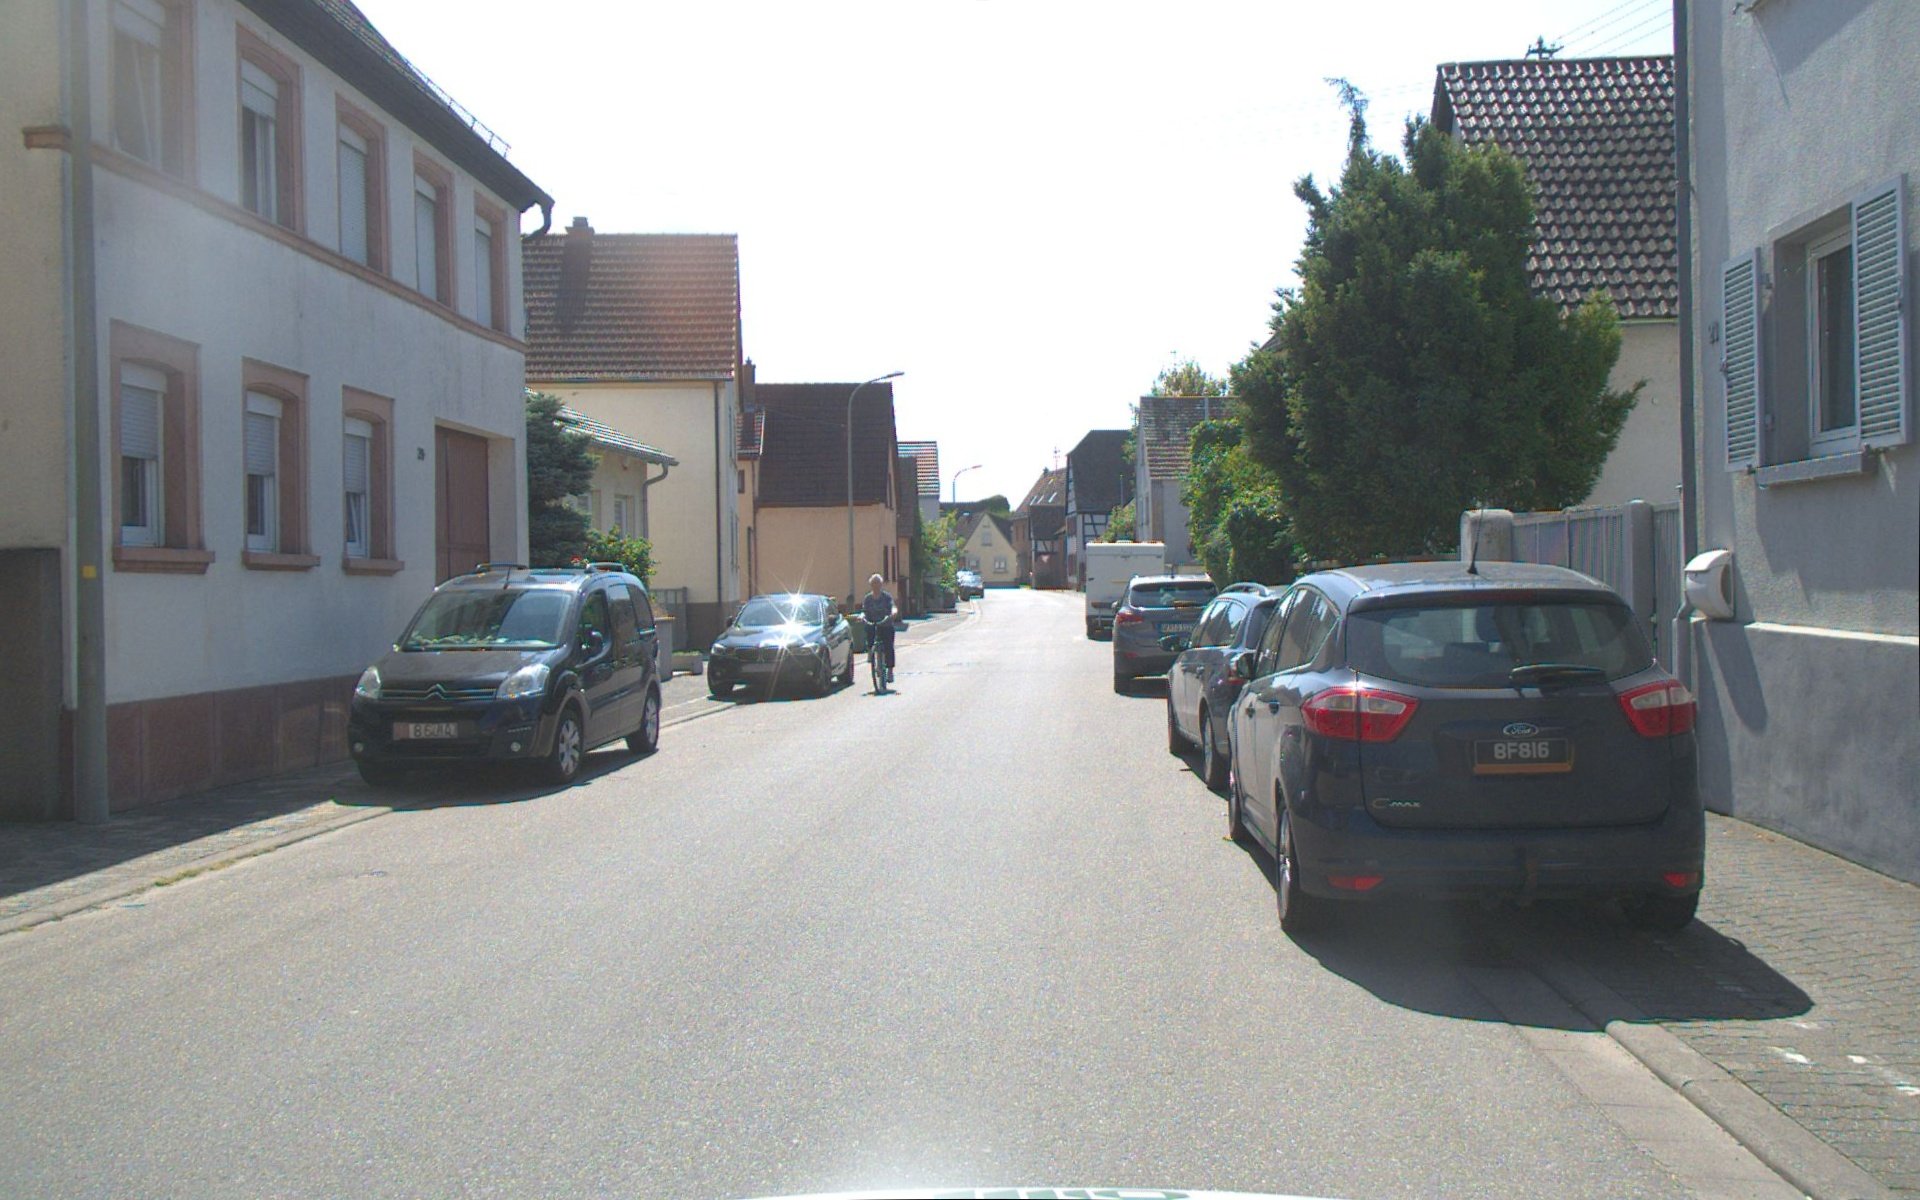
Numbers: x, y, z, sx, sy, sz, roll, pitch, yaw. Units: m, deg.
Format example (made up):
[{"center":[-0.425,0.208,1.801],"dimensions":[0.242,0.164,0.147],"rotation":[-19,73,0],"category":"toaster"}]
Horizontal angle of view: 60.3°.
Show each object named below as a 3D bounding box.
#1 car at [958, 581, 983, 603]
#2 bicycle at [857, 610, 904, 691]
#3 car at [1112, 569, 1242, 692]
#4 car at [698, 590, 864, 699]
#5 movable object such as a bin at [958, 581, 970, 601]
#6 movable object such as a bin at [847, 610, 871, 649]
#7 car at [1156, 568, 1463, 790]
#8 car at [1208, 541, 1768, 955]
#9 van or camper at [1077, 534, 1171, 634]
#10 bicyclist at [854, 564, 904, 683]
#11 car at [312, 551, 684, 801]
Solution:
[{"center":[0.737,-0.550,112.512],"dimensions":[1.480,1.461,3.513],"rotation":[-2,1,3],"category":"car"},{"center":[-1.228,0.762,25.821],"dimensions":[0.577,1.168,1.949],"rotation":[-2,1,0],"category":"bicycle"},{"center":[3.277,0.383,25.229],"dimensions":[1.755,1.659,4.364],"rotation":[-2,1,7],"category":"car"},{"center":[-2.775,0.642,26.693],"dimensions":[1.805,1.553,4.768],"rotation":[-1,0,4],"category":"car"},{"center":[0.255,-0.530,100.313],"dimensions":[0.674,1.206,0.715],"rotation":[-2,0,3],"category":"movable object such as a bin"},{"center":[-2.554,0.746,41.796],"dimensions":[0.528,0.966,0.553],"rotation":[0,1,3],"category":"movable object such as a bin"},{"center":[2.753,0.541,14.056],"dimensions":[1.781,1.535,4.583],"rotation":[-1,0,2],"category":"car"},{"center":[2.404,0.561,8.785],"dimensions":[1.760,1.587,4.634],"rotation":[-1,0,4],"category":"car"},{"center":[4.784,-0.468,48.982],"dimensions":[2.469,2.744,4.557],"rotation":[-1,0,3],"category":"van or camper"},{"center":[-1.260,0.356,25.797],"dimensions":[0.689,1.801,0.625],"rotation":[-2,0,0],"category":"bicyclist"},{"center":[-3.935,0.566,14.929],"dimensions":[1.796,1.869,4.356],"rotation":[-2,1,4],"category":"car"}]
